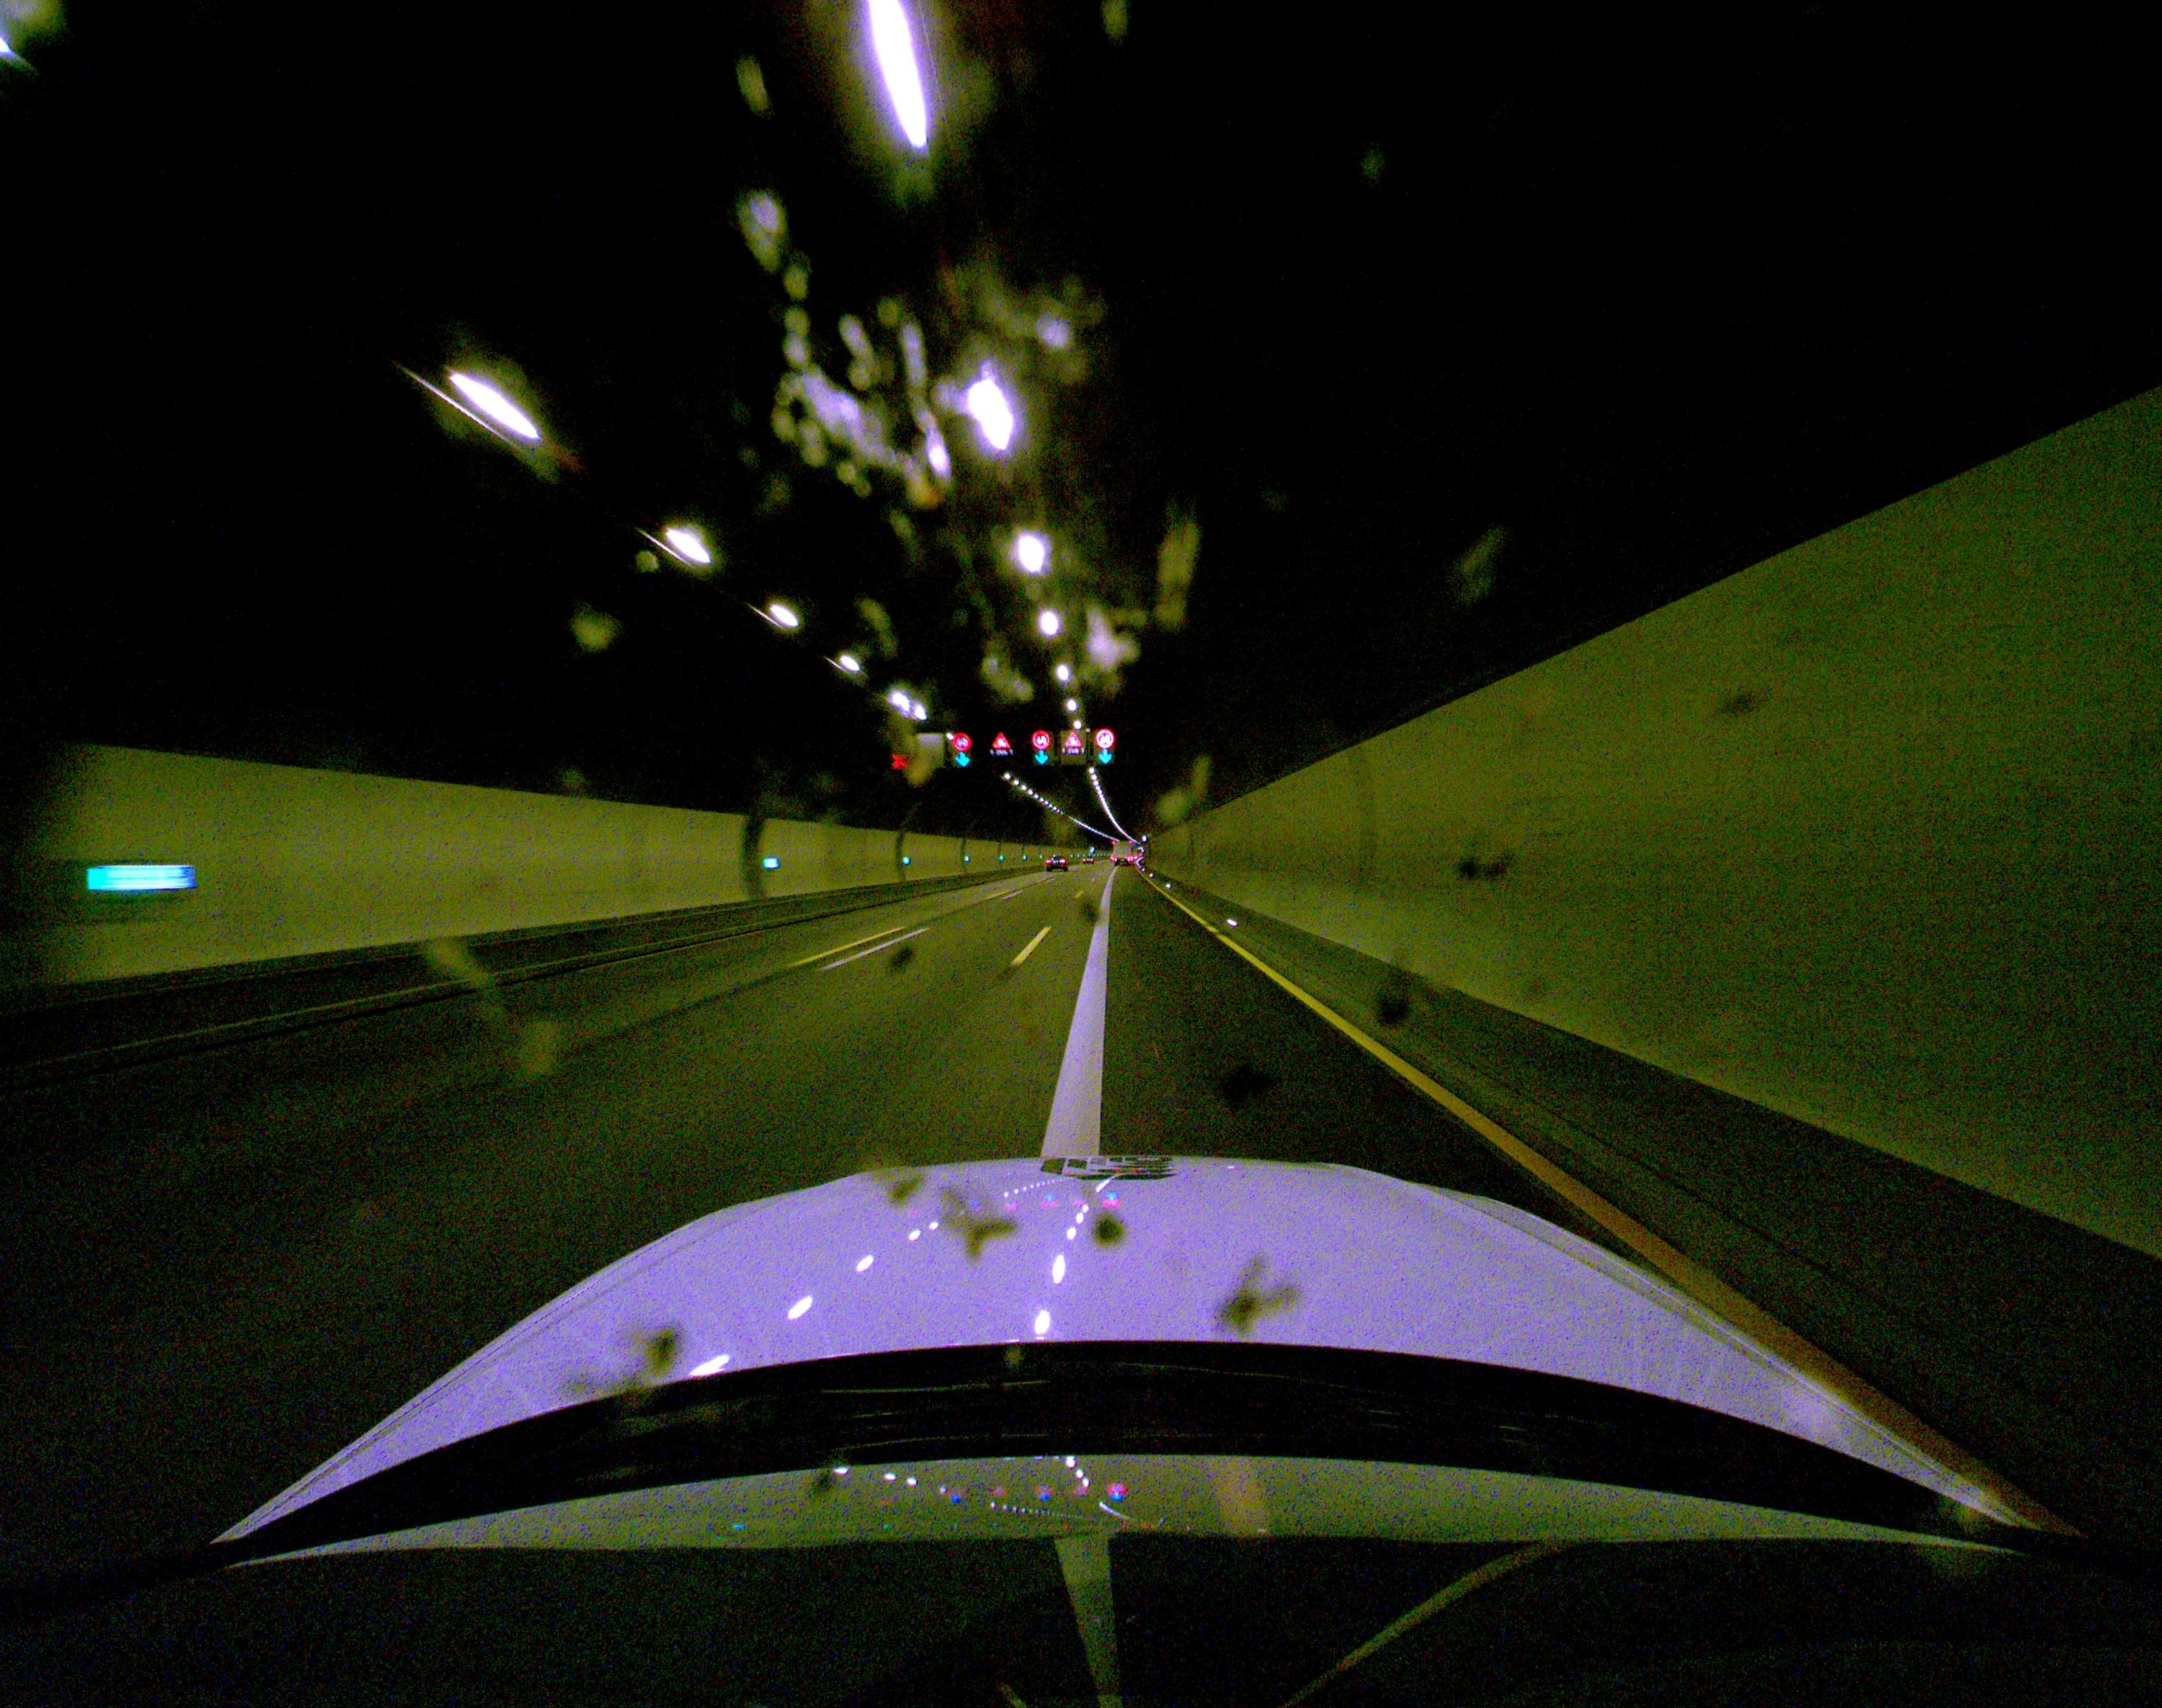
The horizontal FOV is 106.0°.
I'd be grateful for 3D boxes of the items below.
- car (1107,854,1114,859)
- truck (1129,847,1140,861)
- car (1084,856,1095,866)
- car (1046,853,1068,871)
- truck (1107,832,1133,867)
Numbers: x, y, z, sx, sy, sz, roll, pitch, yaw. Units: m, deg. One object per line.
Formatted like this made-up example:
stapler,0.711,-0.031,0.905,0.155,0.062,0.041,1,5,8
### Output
car,7.236,0.592,199.617,1.645,1.274,4.002,-1,1,1
truck,16.296,-0.077,247.872,2.910,4.047,14.041,-3,0,3
car,1.450,1.196,135.724,1.806,1.520,4.002,-1,1,1
car,-2.257,0.789,78.592,1.805,1.618,4.003,-1,0,2
truck,5.819,-0.623,123.209,3.267,4.650,17.290,-3,0,1
